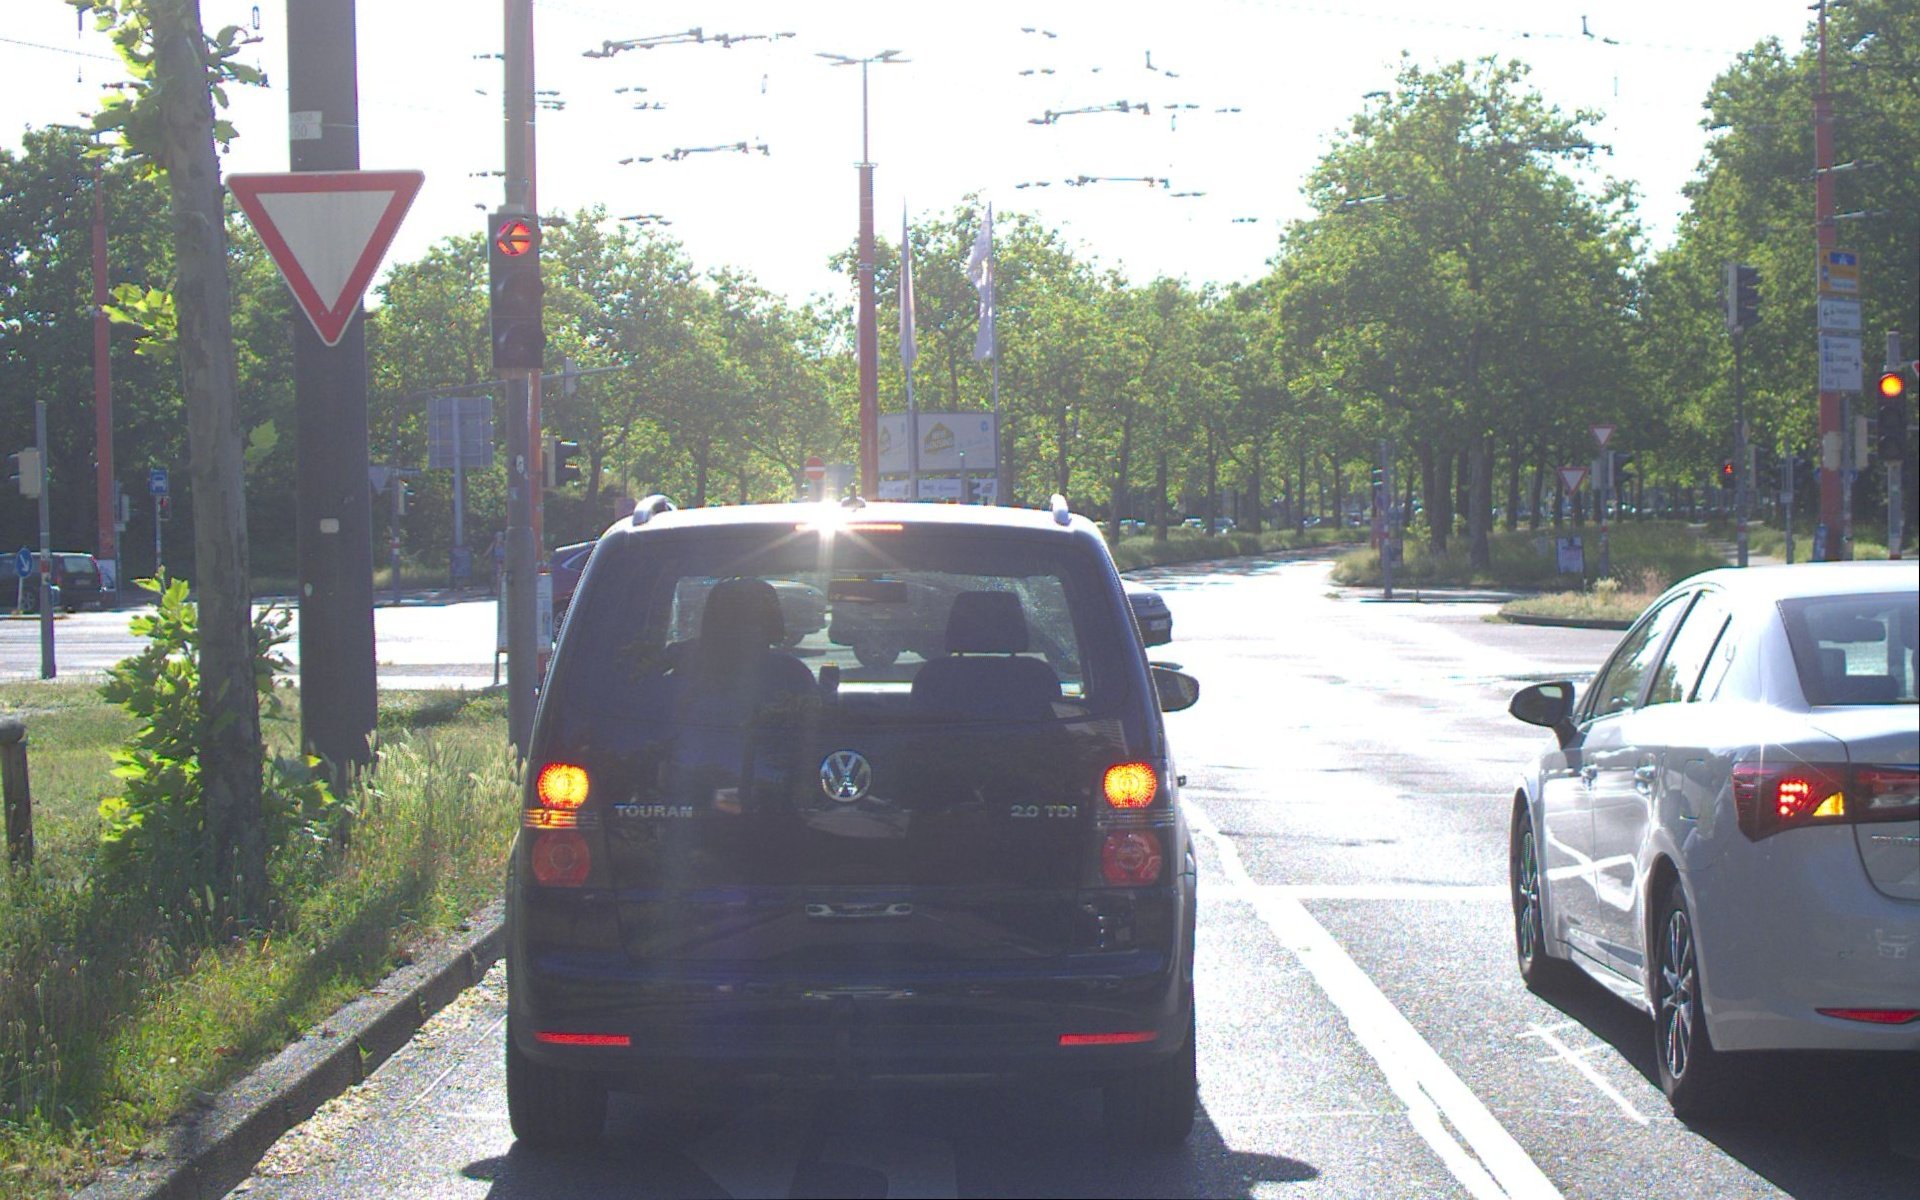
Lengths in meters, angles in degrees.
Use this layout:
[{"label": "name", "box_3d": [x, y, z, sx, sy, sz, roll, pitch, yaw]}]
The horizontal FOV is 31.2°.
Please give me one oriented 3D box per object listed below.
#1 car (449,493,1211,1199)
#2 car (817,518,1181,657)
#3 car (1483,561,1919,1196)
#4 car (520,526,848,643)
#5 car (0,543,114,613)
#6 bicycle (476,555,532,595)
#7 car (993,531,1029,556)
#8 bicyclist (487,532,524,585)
[{"label": "car", "box_3d": [-0.318, 0.544, 9.888, 1.737, 1.635, 4.000, 0, 1, -1]}, {"label": "car", "box_3d": [0.491, -0.173, 44.478, 4.350, 1.726, 1.840, 0, 1, 28]}, {"label": "car", "box_3d": [2.685, 0.628, 10.089, 1.715, 1.449, 4.144, 0, 1, 1]}, {"label": "car", "box_3d": [-4.082, -0.240, 50.717, 4.557, 1.662, 1.840, 0, 1, 28]}, {"label": "car", "box_3d": [-22.227, -0.518, 80.511, 4.459, 1.590, 1.997, 0, 1, 26]}, {"label": "bicycle", "box_3d": [-12.531, -0.685, 94.427, 0.735, 1.086, 1.959, 0, 1, 18]}, {"label": "car", "box_3d": [2.652, -2.937, 178.126, 1.658, 1.305, 3.815, 0, 1, 4]}, {"label": "bicyclist", "box_3d": [-12.500, -1.153, 94.639, 0.693, 1.452, 0.874, 0, 1, 18]}]
